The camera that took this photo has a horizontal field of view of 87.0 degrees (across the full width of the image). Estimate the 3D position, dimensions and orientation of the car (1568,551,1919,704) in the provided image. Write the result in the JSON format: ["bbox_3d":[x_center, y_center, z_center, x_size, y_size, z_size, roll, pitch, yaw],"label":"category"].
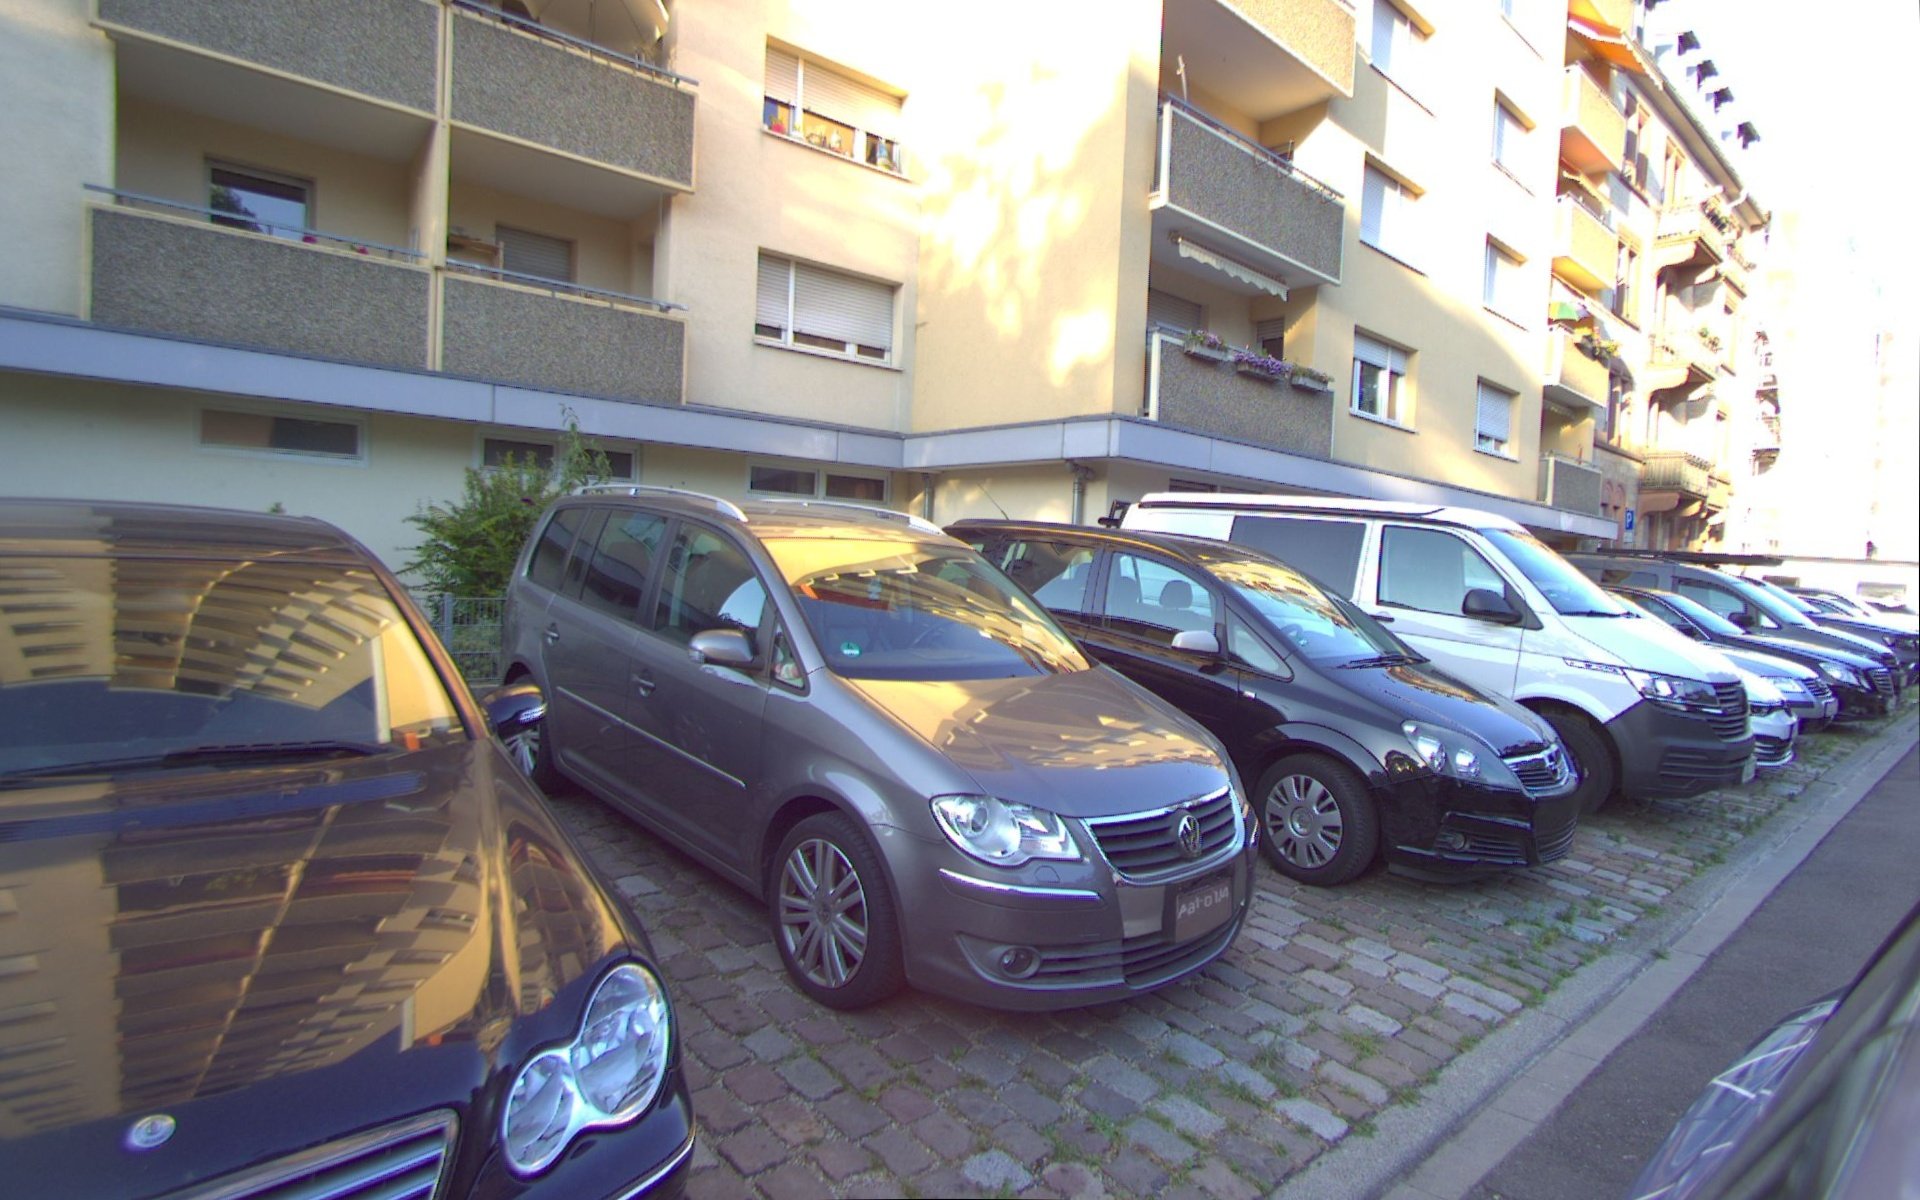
[{"bbox_3d":[12.307,0.299,15.698,1.814,1.885,4.522,0,4,-41],"label":"car"}]

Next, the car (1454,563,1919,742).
[{"bbox_3d":[8.785,0.454,12.498,1.814,1.581,4.413,-2,6,-41],"label":"car"}]

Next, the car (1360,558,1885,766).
[{"bbox_3d":[6.945,0.447,11.036,1.814,1.611,4.413,-2,6,-41],"label":"car"}]

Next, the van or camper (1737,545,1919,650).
[{"bbox_3d":[24.947,-0.037,27.186,2.014,2.534,6.074,1,4,-41],"label":"van or camper"}]

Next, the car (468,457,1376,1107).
[{"bbox_3d":[-0.645,0.230,4.797,1.815,1.680,4.412,-2,7,-43],"label":"car"}]

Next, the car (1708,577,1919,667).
[{"bbox_3d":[19.165,0.426,21.908,1.813,1.572,4.415,-2,6,-40],"label":"car"}]

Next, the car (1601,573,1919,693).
[{"bbox_3d":[14.072,0.445,17.723,1.813,1.572,4.416,-2,5,-39],"label":"car"}]

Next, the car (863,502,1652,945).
[{"bbox_3d":[1.440,0.330,6.270,1.752,1.680,4.334,-2,7,-43],"label":"car"}]

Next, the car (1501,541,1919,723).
[{"bbox_3d":[10.513,0.253,14.294,1.814,2.004,4.647,-2,6,-41],"label":"car"}]

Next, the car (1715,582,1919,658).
[{"bbox_3d":[22.306,0.454,25.938,1.813,1.638,4.414,-2,4,-40],"label":"car"}]

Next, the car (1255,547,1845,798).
[{"bbox_3d":[5.249,0.416,9.551,1.814,1.650,4.413,-2,6,-41],"label":"car"}]

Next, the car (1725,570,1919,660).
[{"bbox_3d":[20.950,0.321,23.702,1.812,1.769,4.419,0,5,-37],"label":"car"}]

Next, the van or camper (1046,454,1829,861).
[{"bbox_3d":[3.332,0.051,8.097,2.006,2.192,5.144,0,7,-43],"label":"van or camper"}]

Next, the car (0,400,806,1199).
[{"bbox_3d":[-2.463,0.372,2.891,1.815,1.549,4.411,-2,6,-43],"label":"car"}]
